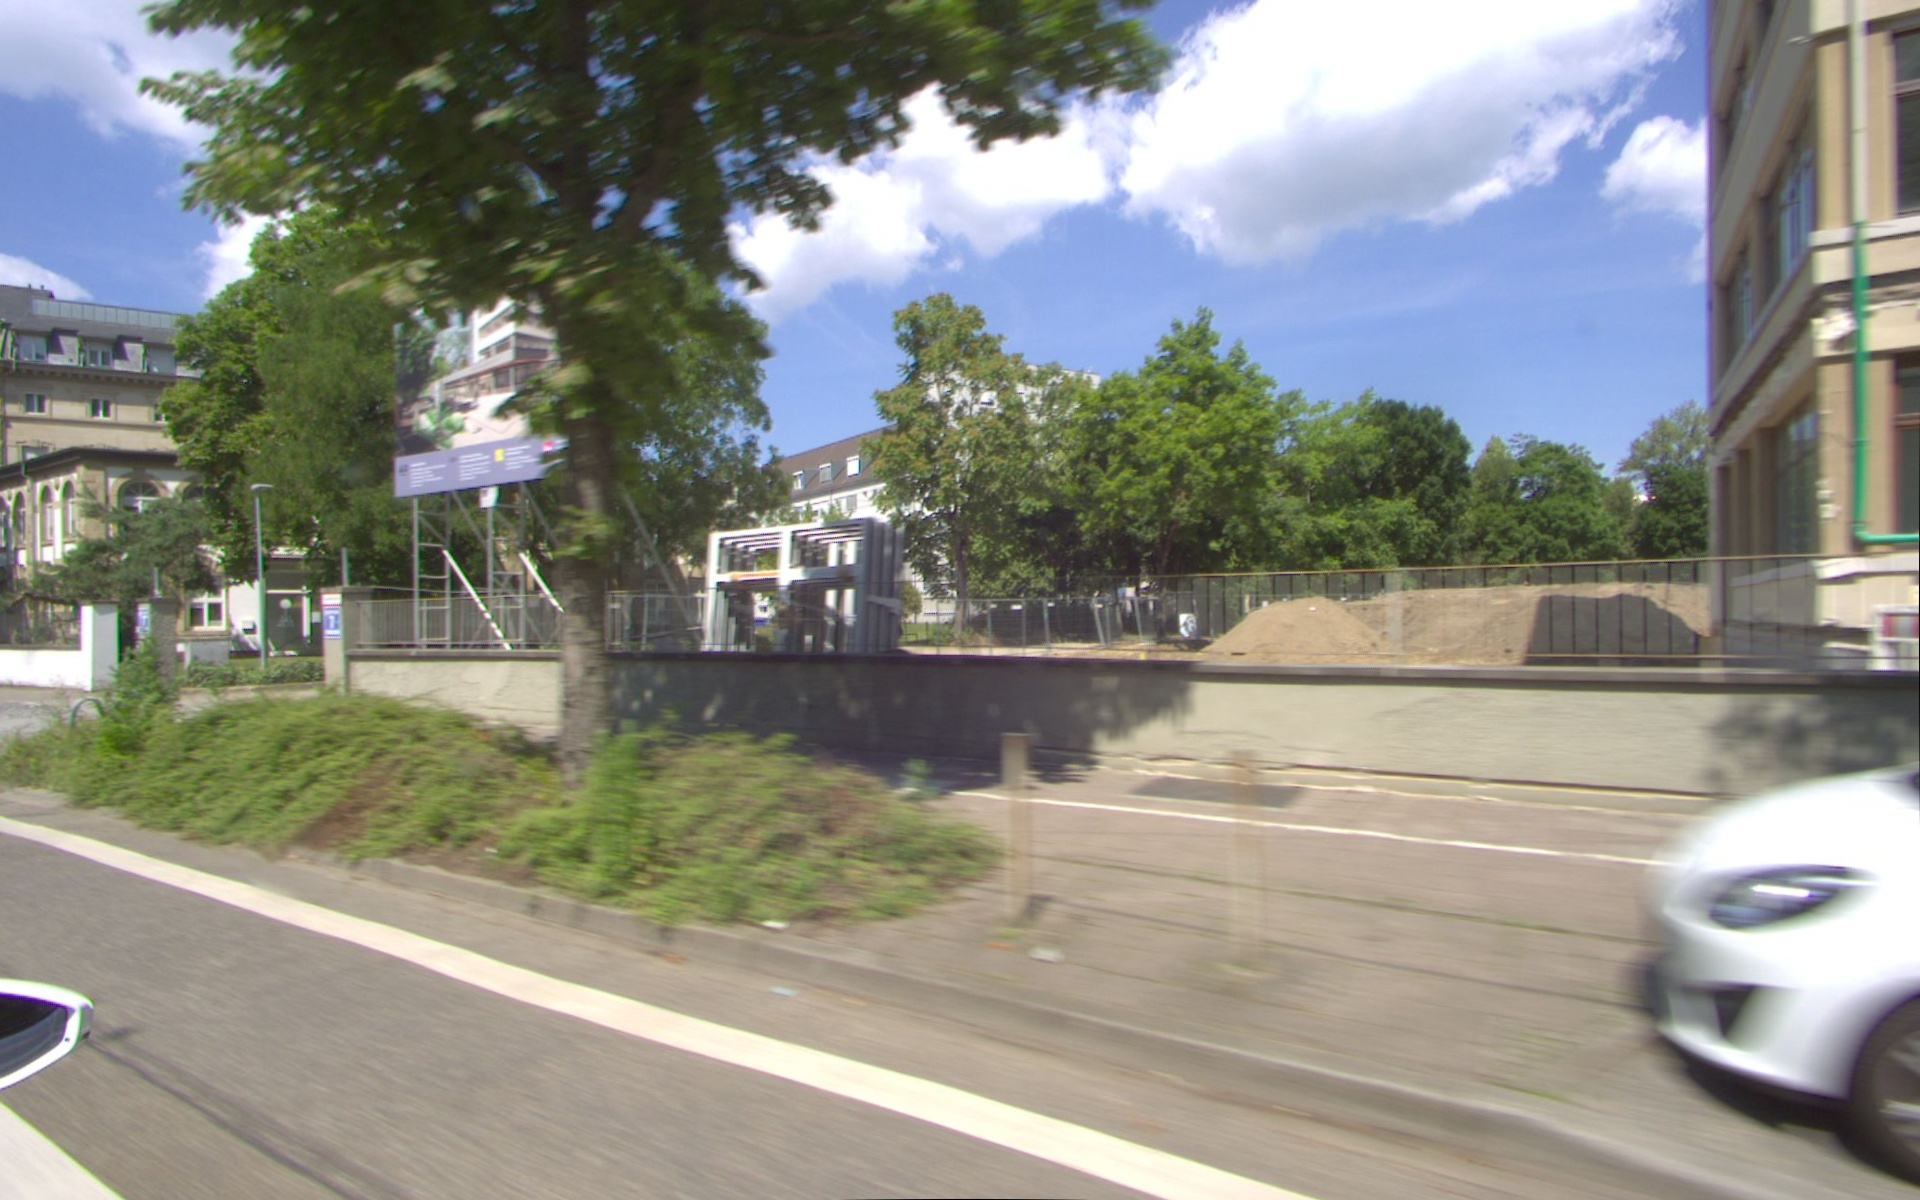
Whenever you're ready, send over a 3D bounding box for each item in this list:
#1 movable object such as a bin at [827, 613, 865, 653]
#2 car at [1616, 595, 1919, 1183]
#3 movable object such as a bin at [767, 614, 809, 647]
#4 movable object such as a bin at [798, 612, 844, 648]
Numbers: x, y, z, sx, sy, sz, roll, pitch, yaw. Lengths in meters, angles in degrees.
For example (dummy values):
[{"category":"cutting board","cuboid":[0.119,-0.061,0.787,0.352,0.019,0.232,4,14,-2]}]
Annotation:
[{"category":"movable object such as a bin","cuboid":[-4.376,1.240,38.401,1.382,1.482,1.388,-1,0,-9]},{"category":"car","cuboid":[3.984,0.761,2.662,3.732,1.554,1.640,-1,-1,34]},{"category":"movable object such as a bin","cuboid":[-7.841,1.375,45.557,1.391,1.482,1.379,-1,0,-38]},{"category":"movable object such as a bin","cuboid":[-5.796,1.243,41.835,1.391,1.482,1.379,-1,0,-38]}]
